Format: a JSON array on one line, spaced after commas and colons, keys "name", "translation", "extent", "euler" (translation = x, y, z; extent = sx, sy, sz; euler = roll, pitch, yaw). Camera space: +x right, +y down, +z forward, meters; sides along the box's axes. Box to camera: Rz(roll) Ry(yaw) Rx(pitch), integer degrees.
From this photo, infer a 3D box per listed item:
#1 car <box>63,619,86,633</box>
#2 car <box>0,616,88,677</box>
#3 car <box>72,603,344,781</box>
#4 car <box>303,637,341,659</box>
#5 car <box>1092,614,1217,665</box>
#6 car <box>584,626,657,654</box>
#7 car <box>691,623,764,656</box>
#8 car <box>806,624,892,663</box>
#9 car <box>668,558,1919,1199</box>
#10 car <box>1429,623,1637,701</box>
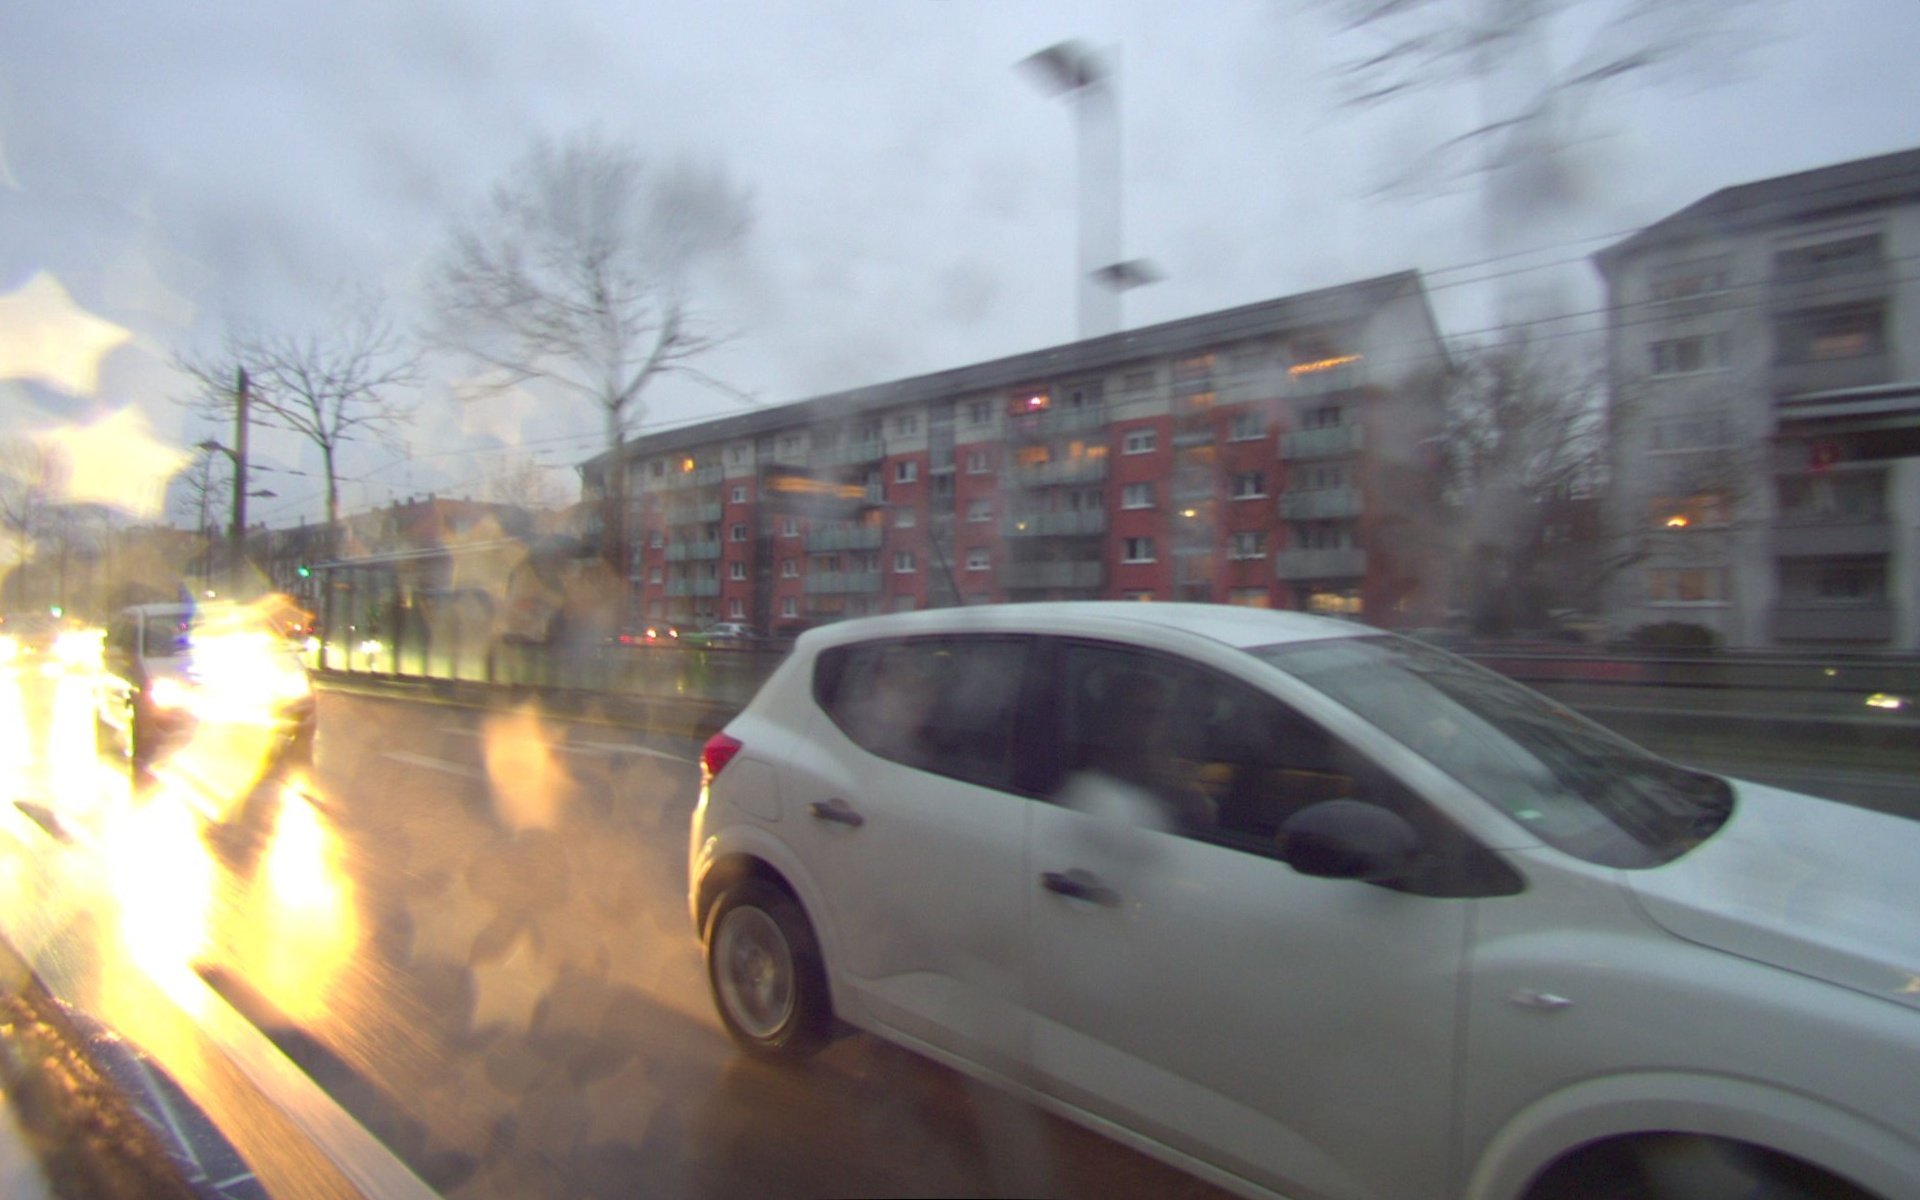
[{"name": "car", "translation": [-109.956, 3.271, 125.688], "extent": [3.746, 1.651, 1.507], "euler": [0, -2, 39]}, {"name": "car", "translation": [-25.377, 1.229, 27.459], "extent": [4.087, 1.513, 1.951], "euler": [-2, -1, 39]}, {"name": "car", "translation": [-8.860, 0.886, 11.798], "extent": [4.002, 1.690, 1.993], "euler": [0, 0, 45]}, {"name": "car", "translation": [-56.442, 4.192, 89.528], "extent": [3.997, 1.772, 1.674], "euler": [0, 0, 40]}, {"name": "car", "translation": [6.933, 1.366, 36.295], "extent": [4.151, 1.658, 1.706], "euler": [0, 0, 43]}, {"name": "car", "translation": [-17.615, 2.061, 52.468], "extent": [4.213, 1.302, 1.760], "euler": [0, 0, 42]}, {"name": "car", "translation": [-12.189, 2.046, 52.962], "extent": [4.151, 1.555, 1.706], "euler": [0, 0, 43]}, {"name": "car", "translation": [-5.204, 1.979, 47.110], "extent": [4.151, 1.658, 1.706], "euler": [0, 0, 43]}, {"name": "car", "translation": [1.035, 0.685, 2.766], "extent": [3.999, 1.477, 1.690], "euler": [0, 0, 42]}, {"name": "car", "translation": [12.742, 1.313, 22.616], "extent": [3.758, 1.508, 1.740], "euler": [0, 0, 42]}]
